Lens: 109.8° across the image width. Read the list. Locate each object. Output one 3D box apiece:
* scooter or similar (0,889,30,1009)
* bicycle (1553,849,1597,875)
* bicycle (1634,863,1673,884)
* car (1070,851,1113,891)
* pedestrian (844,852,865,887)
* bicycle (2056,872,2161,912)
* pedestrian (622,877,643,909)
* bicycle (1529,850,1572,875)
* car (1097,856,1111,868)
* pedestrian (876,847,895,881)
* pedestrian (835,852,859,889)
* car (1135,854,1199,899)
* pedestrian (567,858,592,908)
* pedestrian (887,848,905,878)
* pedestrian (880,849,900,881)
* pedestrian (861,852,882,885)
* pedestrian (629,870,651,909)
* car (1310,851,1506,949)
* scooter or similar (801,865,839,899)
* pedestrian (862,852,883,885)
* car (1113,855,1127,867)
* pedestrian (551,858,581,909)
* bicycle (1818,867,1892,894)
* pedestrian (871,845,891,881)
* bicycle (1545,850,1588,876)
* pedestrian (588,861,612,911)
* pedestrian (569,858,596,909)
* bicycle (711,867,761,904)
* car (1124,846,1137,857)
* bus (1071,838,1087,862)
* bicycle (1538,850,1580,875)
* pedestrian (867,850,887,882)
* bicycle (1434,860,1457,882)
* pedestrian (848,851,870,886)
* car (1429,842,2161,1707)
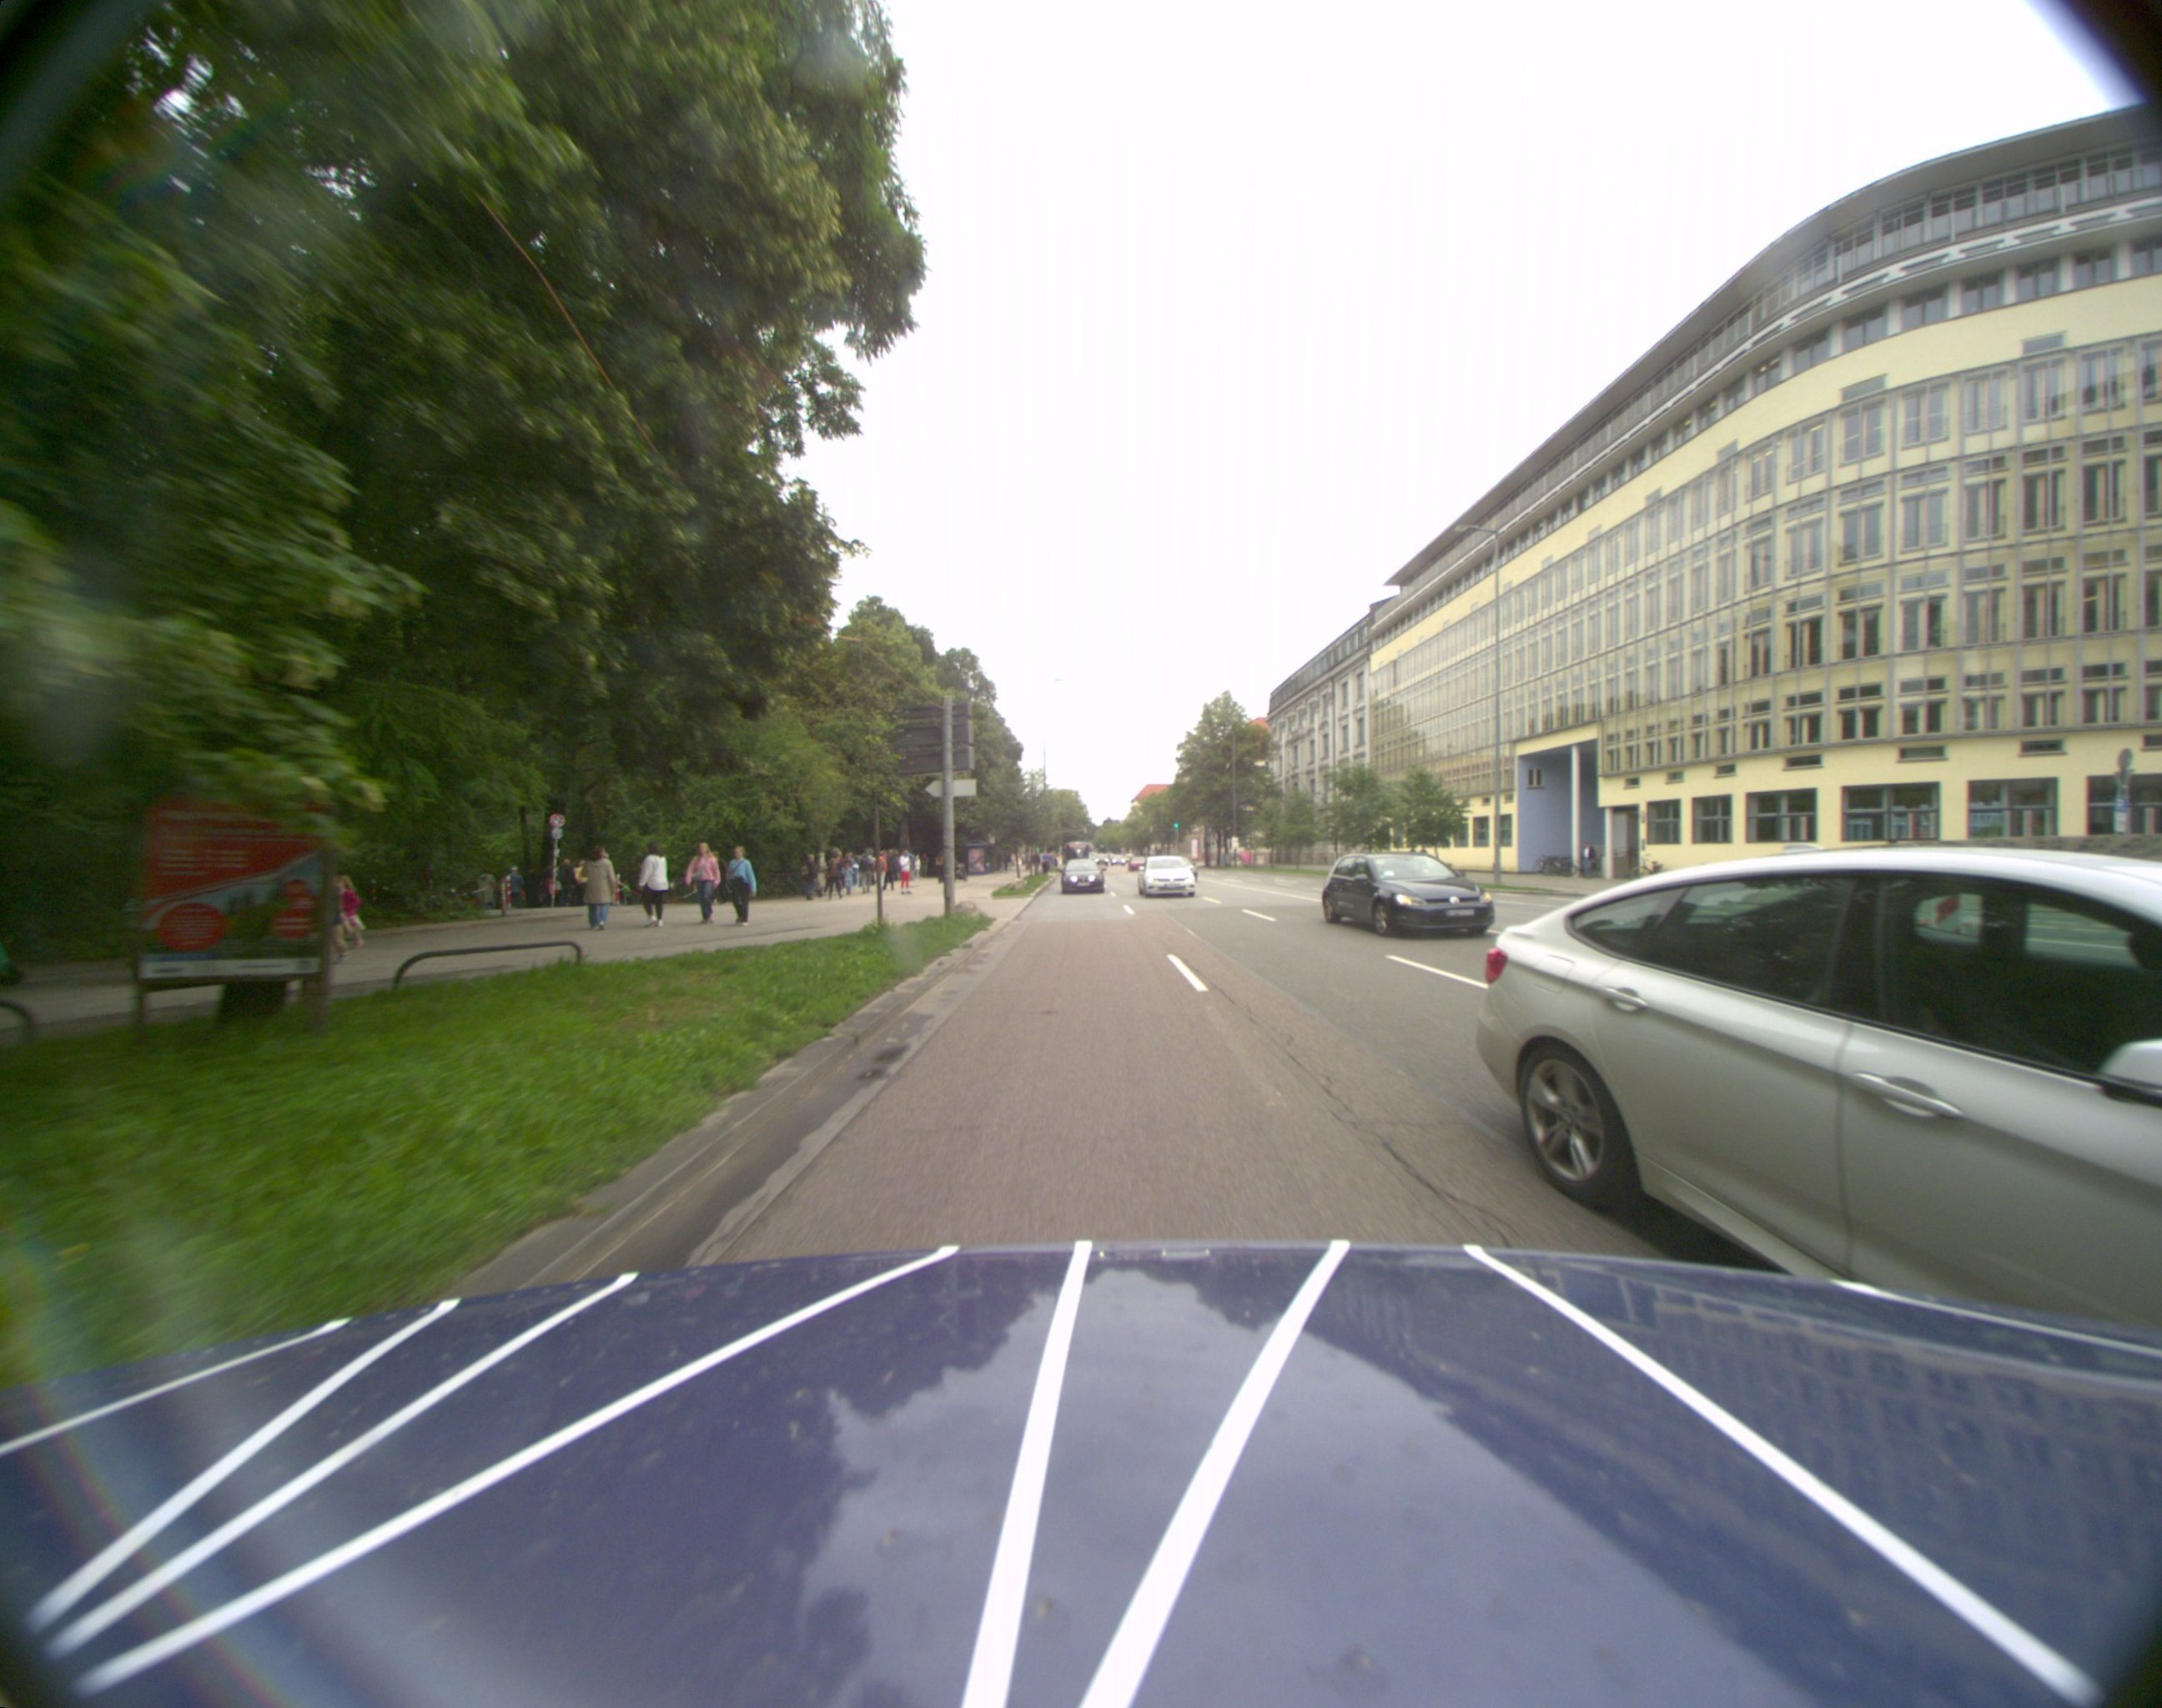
[{"bbox_3d":[-10.991,0.958,7.154,0.419,1.192,1.219,-2,1,0],"label":"scooter or similar"},{"bbox_3d":[26.220,0.430,40.317,2.014,1.311,0.574,-2,1,-5],"label":"bicycle"},{"bbox_3d":[25.086,0.827,33.314,0.478,0.872,1.737,0,0,3],"label":"bicycle"},{"bbox_3d":[0.420,0.690,33.579,1.797,1.627,4.274,-1,1,-1],"label":"car"},{"bbox_3d":[-10.958,0.745,36.773,0.814,1.681,0.729,0,1,2],"label":"pedestrian"},{"bbox_3d":[28.112,1.011,20.700,1.840,1.015,0.587,0,0,42],"label":"bicycle"},{"bbox_3d":[-17.286,1.513,29.285,0.407,1.191,0.519,-2,1,22],"label":"pedestrian"},{"bbox_3d":[26.052,0.463,42.188,2.014,1.311,0.638,-2,1,-5],"label":"bicycle"},{"bbox_3d":[2.964,1.012,99.043,1.638,1.562,3.945,-1,0,0],"label":"car"},{"bbox_3d":[-10.890,0.557,42.360,0.814,1.863,0.729,-2,1,2],"label":"pedestrian"},{"bbox_3d":[-11.026,0.761,35.789,0.814,1.681,0.729,-2,1,2],"label":"pedestrian"},{"bbox_3d":[3.053,0.753,27.745,1.797,1.439,4.274,-1,1,-1],"label":"car"},{"bbox_3d":[-17.913,1.037,27.147,0.526,1.753,0.437,-2,1,22],"label":"pedestrian"},{"bbox_3d":[-10.688,0.530,43.845,0.814,1.681,0.673,-2,1,2],"label":"pedestrian"},{"bbox_3d":[-10.836,0.633,43.120,0.814,1.780,0.729,-2,1,2],"label":"pedestrian"},{"bbox_3d":[-10.838,0.751,39.322,0.814,1.681,0.729,0,1,2],"label":"pedestrian"},{"bbox_3d":[-16.871,1.362,29.087,0.407,1.465,0.519,-2,1,22],"label":"pedestrian"},{"bbox_3d":[5.777,0.709,14.076,1.696,1.507,4.338,-1,0,-1],"label":"car"},{"bbox_3d":[-9.835,1.053,28.611,1.563,1.249,0.349,-2,1,31],"label":"scooter or similar"},{"bbox_3d":[-11.004,0.752,40.123,0.814,1.729,0.729,-2,1,2],"label":"pedestrian"},{"bbox_3d":[5.376,0.986,105.392,1.638,1.562,3.945,-1,0,0],"label":"car"},{"bbox_3d":[-18.016,1.043,26.596,0.610,1.753,0.552,-2,1,22],"label":"pedestrian"},{"bbox_3d":[26.237,0.887,25.799,1.732,0.872,0.587,0,0,42],"label":"bicycle"},{"bbox_3d":[-10.946,0.502,41.599,0.814,1.906,0.729,-2,1,2],"label":"pedestrian"},{"bbox_3d":[26.157,0.481,40.917,2.014,1.311,0.574,-2,1,-5],"label":"bicycle"},{"bbox_3d":[-17.202,1.134,27.197,0.407,1.753,0.519,-2,1,22],"label":"pedestrian"},{"bbox_3d":[-17.343,1.020,26.428,0.520,1.753,0.569,-2,1,31],"label":"pedestrian"},{"bbox_3d":[-12.603,1.141,27.808,1.602,1.232,0.391,-2,1,-27],"label":"bicycle"},{"bbox_3d":[8.219,-0.459,127.410,1.862,1.738,4.629,1,0,0],"label":"car"},{"bbox_3d":[-0.218,-0.445,87.269,1.638,2.570,6.701,-1,0,0],"label":"bus"},{"bbox_3d":[26.128,0.458,41.550,2.014,1.311,0.574,-2,1,-5],"label":"bicycle"},{"bbox_3d":[-10.966,0.613,40.874,0.814,1.681,0.729,-2,1,2],"label":"pedestrian"},{"bbox_3d":[16.844,0.777,35.124,0.281,1.007,1.384,-2,0,-4],"label":"bicycle"},{"bbox_3d":[-10.973,0.710,37.564,0.814,1.681,0.729,-1,1,2],"label":"pedestrian"},{"bbox_3d":[2.876,0.789,1.770,1.797,1.627,5.025,-1,1,-1],"label":"car"}]
